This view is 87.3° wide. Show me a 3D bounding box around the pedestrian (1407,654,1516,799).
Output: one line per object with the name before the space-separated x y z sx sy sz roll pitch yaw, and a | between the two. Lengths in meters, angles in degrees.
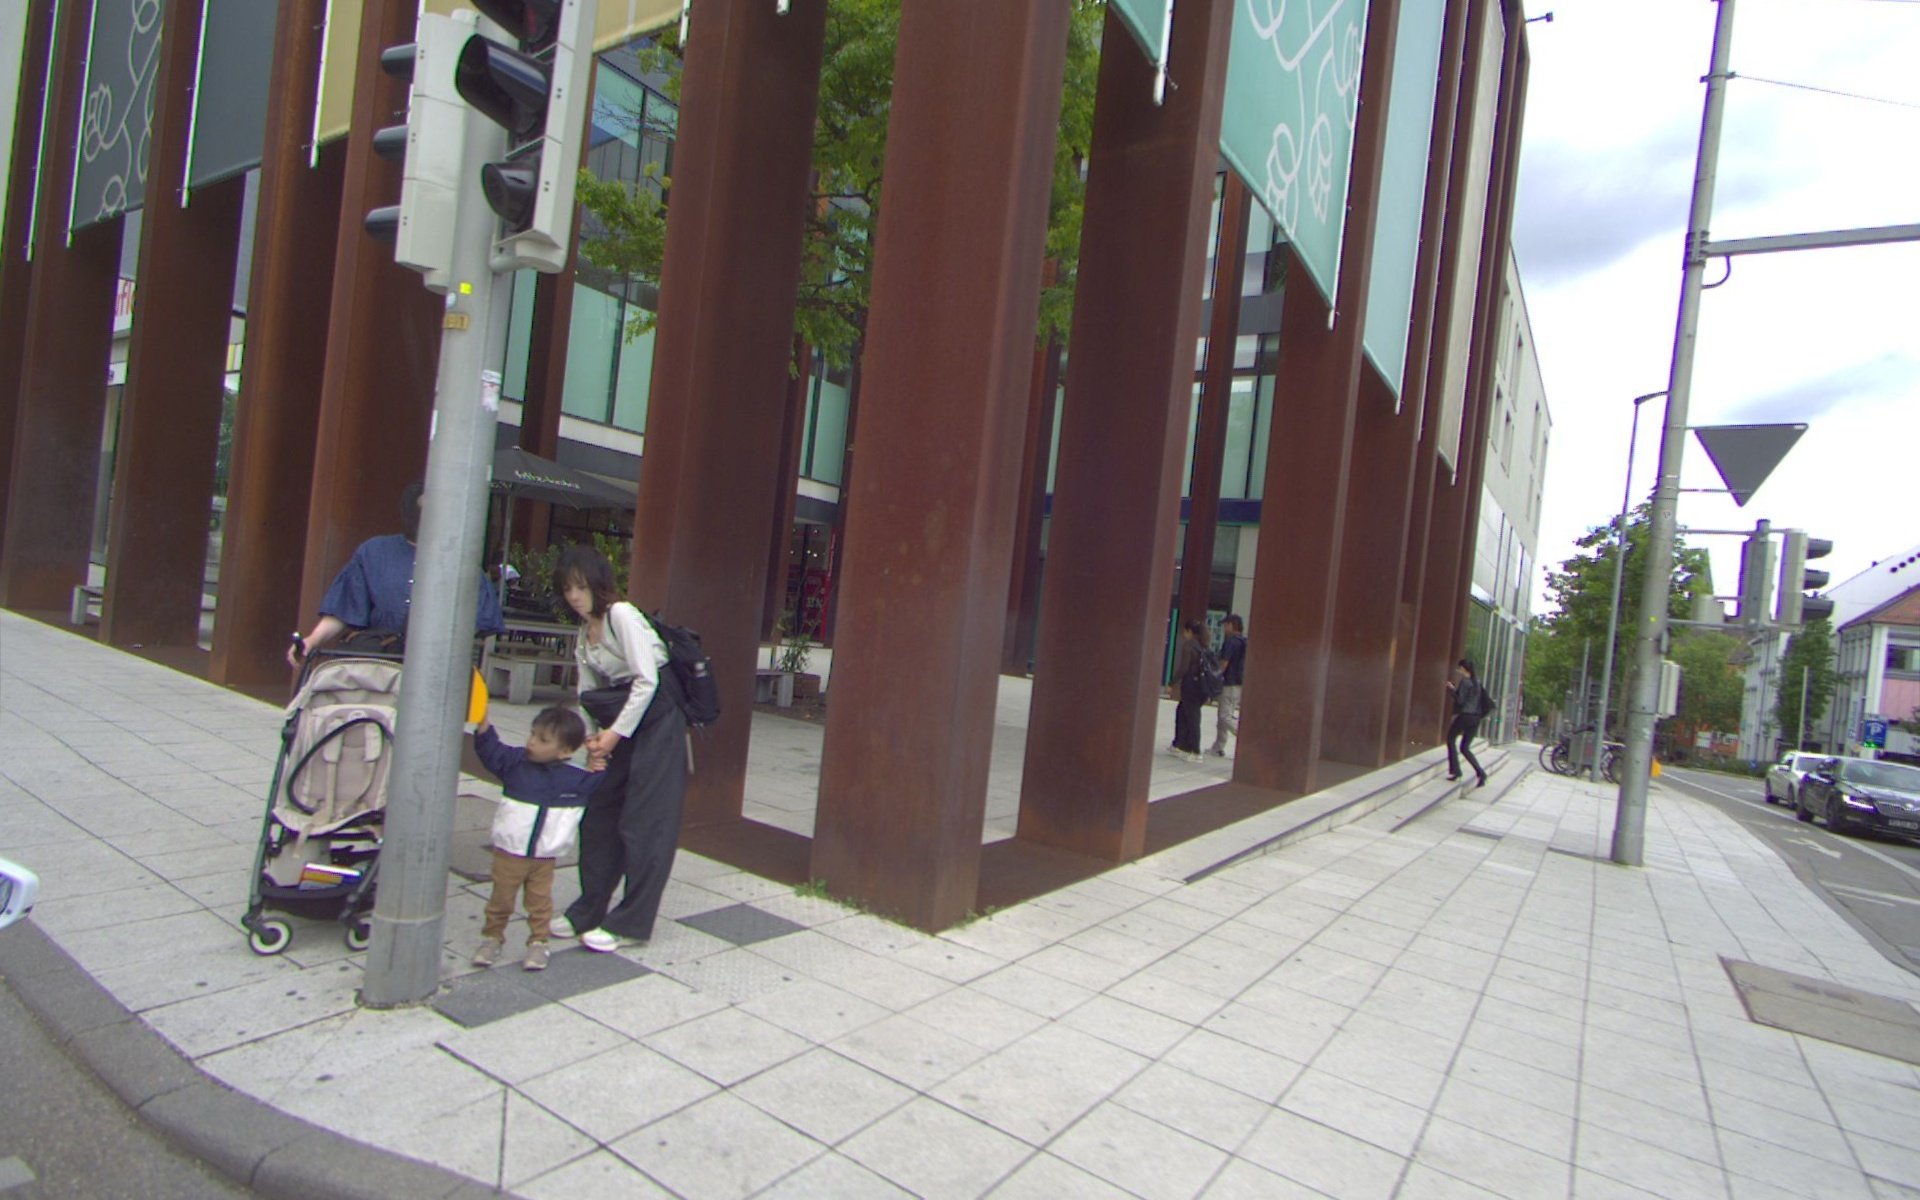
pedestrian | 6.936 1.711 13.901 1.102 1.789 0.879 7 0 32

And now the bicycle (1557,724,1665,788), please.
bicycle | 15.056 3.589 23.318 1.960 1.115 0.719 7 0 34

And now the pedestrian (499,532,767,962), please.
pedestrian | -1.235 0.515 3.826 0.573 1.437 0.601 7 0 37

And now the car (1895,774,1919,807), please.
car | 46.269 9.247 48.013 1.698 1.410 3.735 9 -2 34

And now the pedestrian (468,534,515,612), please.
pedestrian | -10.477 -0.607 22.482 0.724 1.652 0.522 7 0 36

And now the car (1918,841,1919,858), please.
car | 14.152 3.058 12.864 1.771 1.420 4.180 7 -2 32

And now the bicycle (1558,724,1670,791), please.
bicycle | 14.571 3.483 22.457 1.960 1.115 0.719 7 0 34

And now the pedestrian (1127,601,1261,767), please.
pedestrian | 2.679 0.940 11.508 1.102 1.702 0.879 7 0 32

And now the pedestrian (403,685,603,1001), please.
pedestrian | -1.561 0.790 3.436 0.447 0.935 0.362 7 0 37

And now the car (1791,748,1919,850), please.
car | 17.501 3.761 19.263 1.771 1.420 4.541 7 -2 33

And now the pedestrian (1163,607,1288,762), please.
pedestrian | 3.258 1.015 12.331 1.102 1.702 0.879 7 0 32

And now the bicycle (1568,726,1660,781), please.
bicycle | 17.576 4.113 27.071 1.960 1.115 0.719 7 0 34

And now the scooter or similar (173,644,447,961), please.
scooter or similar | -2.276 0.697 3.608 0.626 0.973 0.617 7 0 -22

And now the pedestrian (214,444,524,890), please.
pedestrian | -2.423 0.287 4.244 0.861 1.666 0.677 7 0 -21

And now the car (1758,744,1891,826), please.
car | 22.412 4.726 26.262 1.771 1.505 4.566 7 -2 32
